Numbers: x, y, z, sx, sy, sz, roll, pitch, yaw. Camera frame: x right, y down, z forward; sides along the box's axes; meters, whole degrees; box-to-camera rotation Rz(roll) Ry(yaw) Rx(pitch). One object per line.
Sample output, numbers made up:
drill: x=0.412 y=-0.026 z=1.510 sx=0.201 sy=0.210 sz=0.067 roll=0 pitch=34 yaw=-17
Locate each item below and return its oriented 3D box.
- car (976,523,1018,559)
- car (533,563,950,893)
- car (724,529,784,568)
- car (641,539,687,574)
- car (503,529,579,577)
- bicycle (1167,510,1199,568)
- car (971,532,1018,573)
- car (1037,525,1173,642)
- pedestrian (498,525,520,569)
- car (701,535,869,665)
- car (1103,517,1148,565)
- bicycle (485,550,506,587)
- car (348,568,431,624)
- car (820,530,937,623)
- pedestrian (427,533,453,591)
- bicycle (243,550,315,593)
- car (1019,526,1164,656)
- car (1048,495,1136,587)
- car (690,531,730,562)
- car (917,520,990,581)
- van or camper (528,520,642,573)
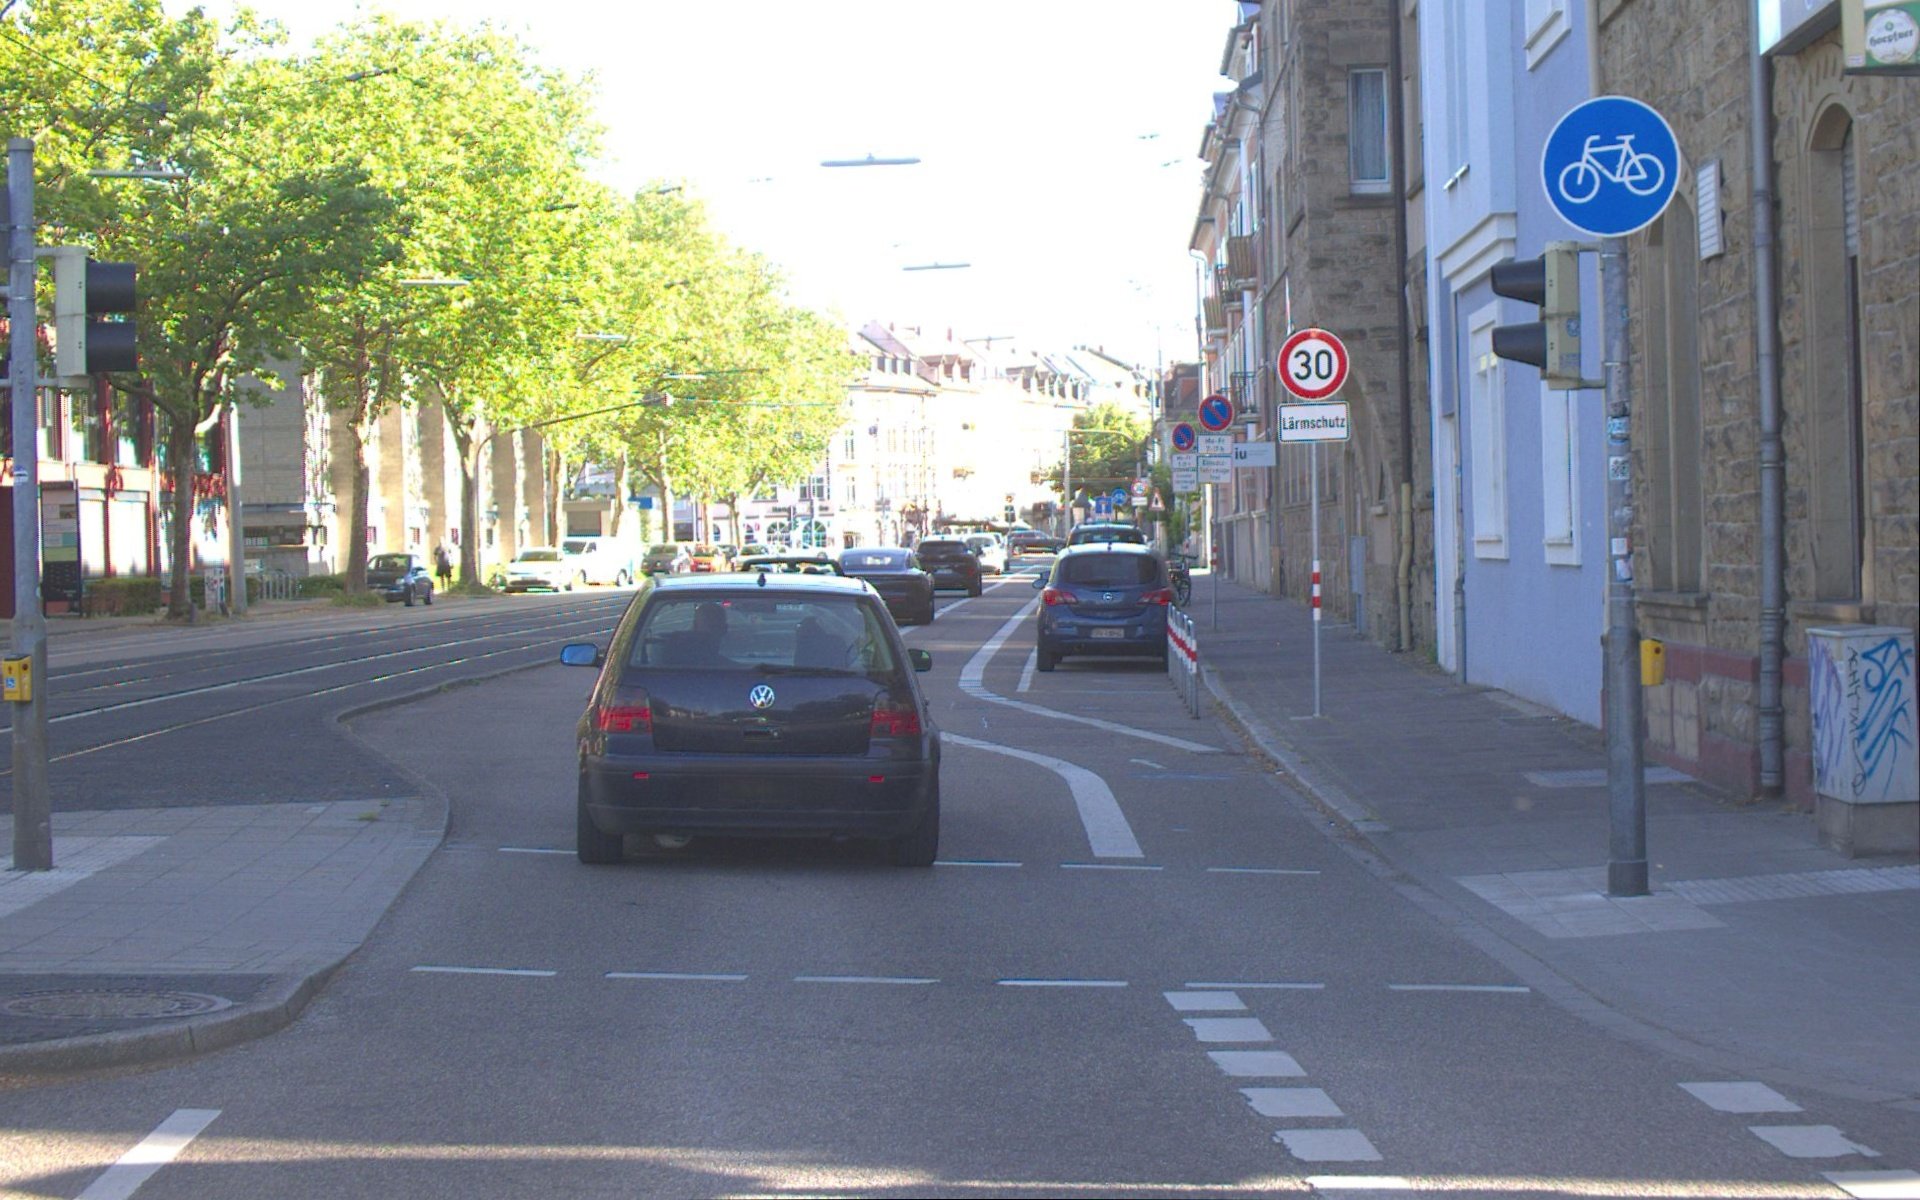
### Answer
car: x=1.603 y=-2.516 z=146.414 sx=1.636 sy=1.467 sz=3.729 roll=-1 pitch=1 yaw=2
car: x=-0.986 y=0.555 z=17.432 sx=1.748 sy=1.370 sz=4.000 roll=-2 pitch=2 yaw=1
car: x=-8.874 y=-2.236 z=148.606 sx=1.753 sy=1.513 sz=4.070 roll=-3 pitch=1 yaw=8
car: x=-13.331 y=-1.948 z=154.943 sx=1.570 sy=1.528 sz=3.572 roll=-1 pitch=0 yaw=2
car: x=-14.664 y=-1.659 z=120.419 sx=2.012 sy=1.567 sz=4.693 roll=0 pitch=2 yaw=1
bicycle: x=4.522 y=-1.245 z=69.869 sx=0.515 sy=1.136 sz=2.259 roll=-3 pitch=2 yaw=2
car: x=1.338 y=-1.816 z=130.799 sx=1.636 sy=1.467 sz=3.729 roll=-1 pitch=1 yaw=2
car: x=2.023 y=-0.258 z=46.945 sx=1.753 sy=1.495 sz=4.196 roll=1 pitch=1 yaw=4
pedestrian: x=-18.608 y=-2.196 z=141.797 sx=0.796 sy=1.814 sz=0.670 roll=1 pitch=2 yaw=2
car: x=-2.219 y=-0.037 z=44.518 sx=1.749 sy=1.532 sz=3.891 roll=-1 pitch=2 yaw=3
car: x=6.516 y=-2.329 z=135.613 sx=1.759 sy=1.831 sz=3.547 roll=1 pitch=2 yaw=2
bicycle: x=-15.508 y=-1.069 z=114.864 sx=0.581 sy=1.204 sz=1.654 roll=0 pitch=2 yaw=-4
car: x=-15.790 y=-0.101 z=95.258 sx=1.507 sy=1.449 sz=3.463 roll=-2 pitch=-1 yaw=3
car: x=-1.418 y=-0.446 z=61.272 sx=1.749 sy=1.532 sz=3.891 roll=-1 pitch=2 yaw=3
pedestrian: x=-16.963 y=-1.233 z=112.068 sx=0.784 sy=1.863 sz=0.671 roll=0 pitch=2 yaw=-12
bicycle: x=-20.327 y=-0.844 z=102.661 sx=2.008 sy=1.274 sz=0.664 roll=0 pitch=2 yaw=3
car: x=1.578 y=-0.147 z=41.419 sx=1.655 sy=1.477 sz=4.000 roll=0 pitch=1 yaw=2
car: x=2.786 y=-1.249 z=72.197 sx=1.753 sy=1.849 sz=4.815 roll=-1 pitch=1 yaw=3
car: x=-12.457 y=-2.660 z=171.515 sx=1.570 sy=1.528 sz=3.572 roll=-1 pitch=0 yaw=2
car: x=-0.147 y=-1.261 z=86.741 sx=1.636 sy=1.467 sz=3.729 roll=-1 pitch=1 yaw=2
van or camper: x=-14.240 y=-2.050 z=130.731 sx=2.062 sy=1.943 sz=5.184 roll=1 pitch=2 yaw=22
